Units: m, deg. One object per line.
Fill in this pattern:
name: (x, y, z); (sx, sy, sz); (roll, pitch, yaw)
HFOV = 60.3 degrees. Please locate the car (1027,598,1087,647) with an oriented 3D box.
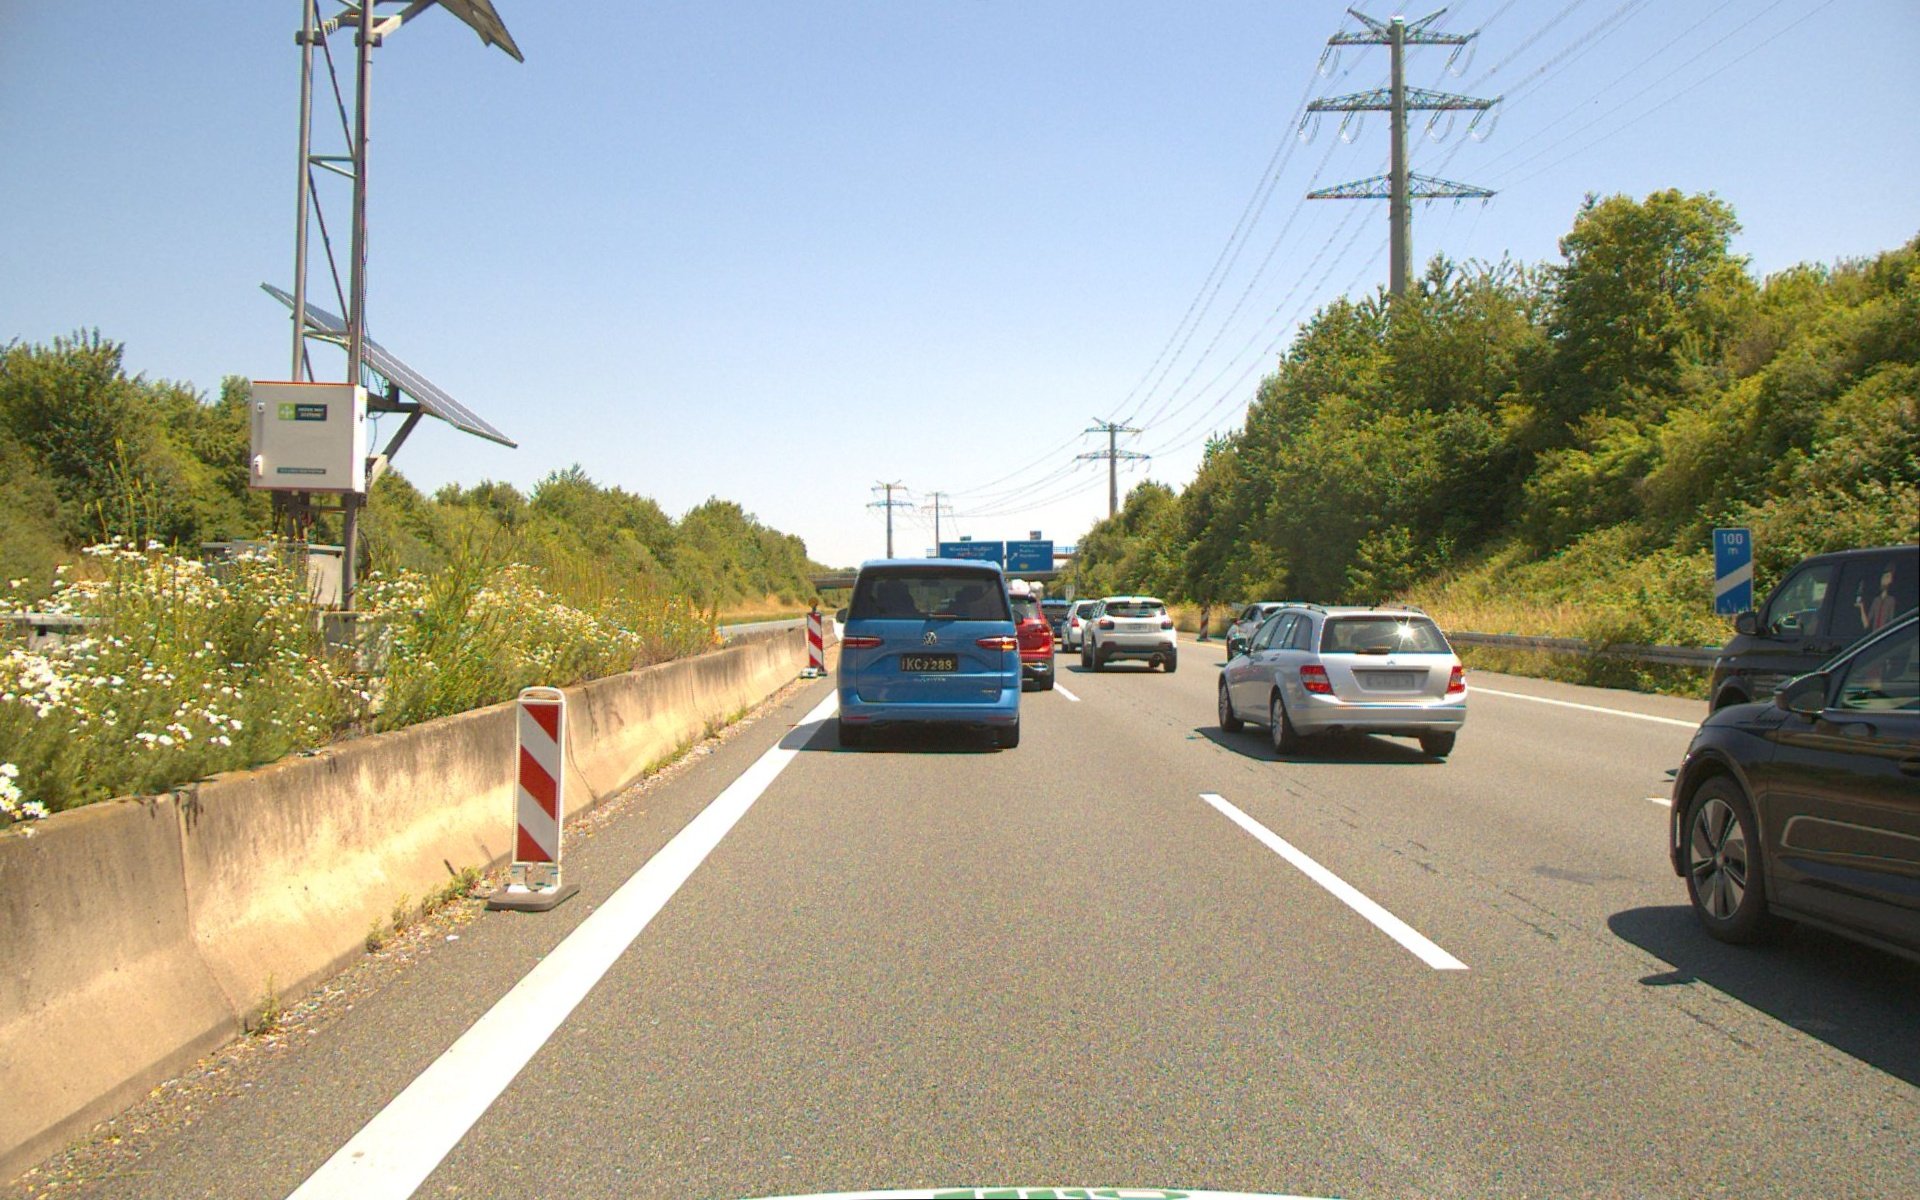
car: (3.367, 0.771, 57.821); (1.761, 1.622, 4.226); (1, 0, -1)

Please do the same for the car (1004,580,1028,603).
car: (5.976, -0.912, 178.121); (2.329, 2.470, 4.226); (1, 0, -1)

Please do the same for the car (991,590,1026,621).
car: (2.672, 0.313, 92.721); (1.761, 1.622, 4.226); (1, 0, -1)

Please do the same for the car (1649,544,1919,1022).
car: (4.223, 0.656, 5.766); (1.666, 1.684, 4.428); (1, 0, -2)

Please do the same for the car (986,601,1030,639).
car: (2.119, 0.884, 73.818); (1.761, 1.622, 4.226); (1, 0, -1)

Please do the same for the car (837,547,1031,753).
car: (-0.308, 0.490, 18.096); (1.837, 1.945, 4.358); (1, 0, -2)

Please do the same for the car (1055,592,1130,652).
car: (3.791, 0.625, 48.019); (1.761, 1.622, 4.226); (1, 0, -1)

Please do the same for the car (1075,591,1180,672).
car: (3.549, 0.646, 35.701); (1.761, 1.622, 4.226); (1, 0, -1)

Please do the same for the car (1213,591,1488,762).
car: (3.927, 0.713, 17.378); (1.735, 1.544, 4.358); (1, 0, -2)

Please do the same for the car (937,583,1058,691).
car: (0.572, 0.606, 28.623); (1.837, 1.700, 4.358); (1, 0, -2)

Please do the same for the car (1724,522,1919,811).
car: (7.684, 0.489, 12.547); (1.761, 2.049, 4.226); (1, 0, -1)

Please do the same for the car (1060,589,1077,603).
car: (14.531, -0.528, 222.446); (1.837, 1.700, 4.358); (1, 0, -2)

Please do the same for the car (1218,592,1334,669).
car: (7.111, 0.669, 37.580); (1.761, 1.622, 4.226); (1, 0, -1)
